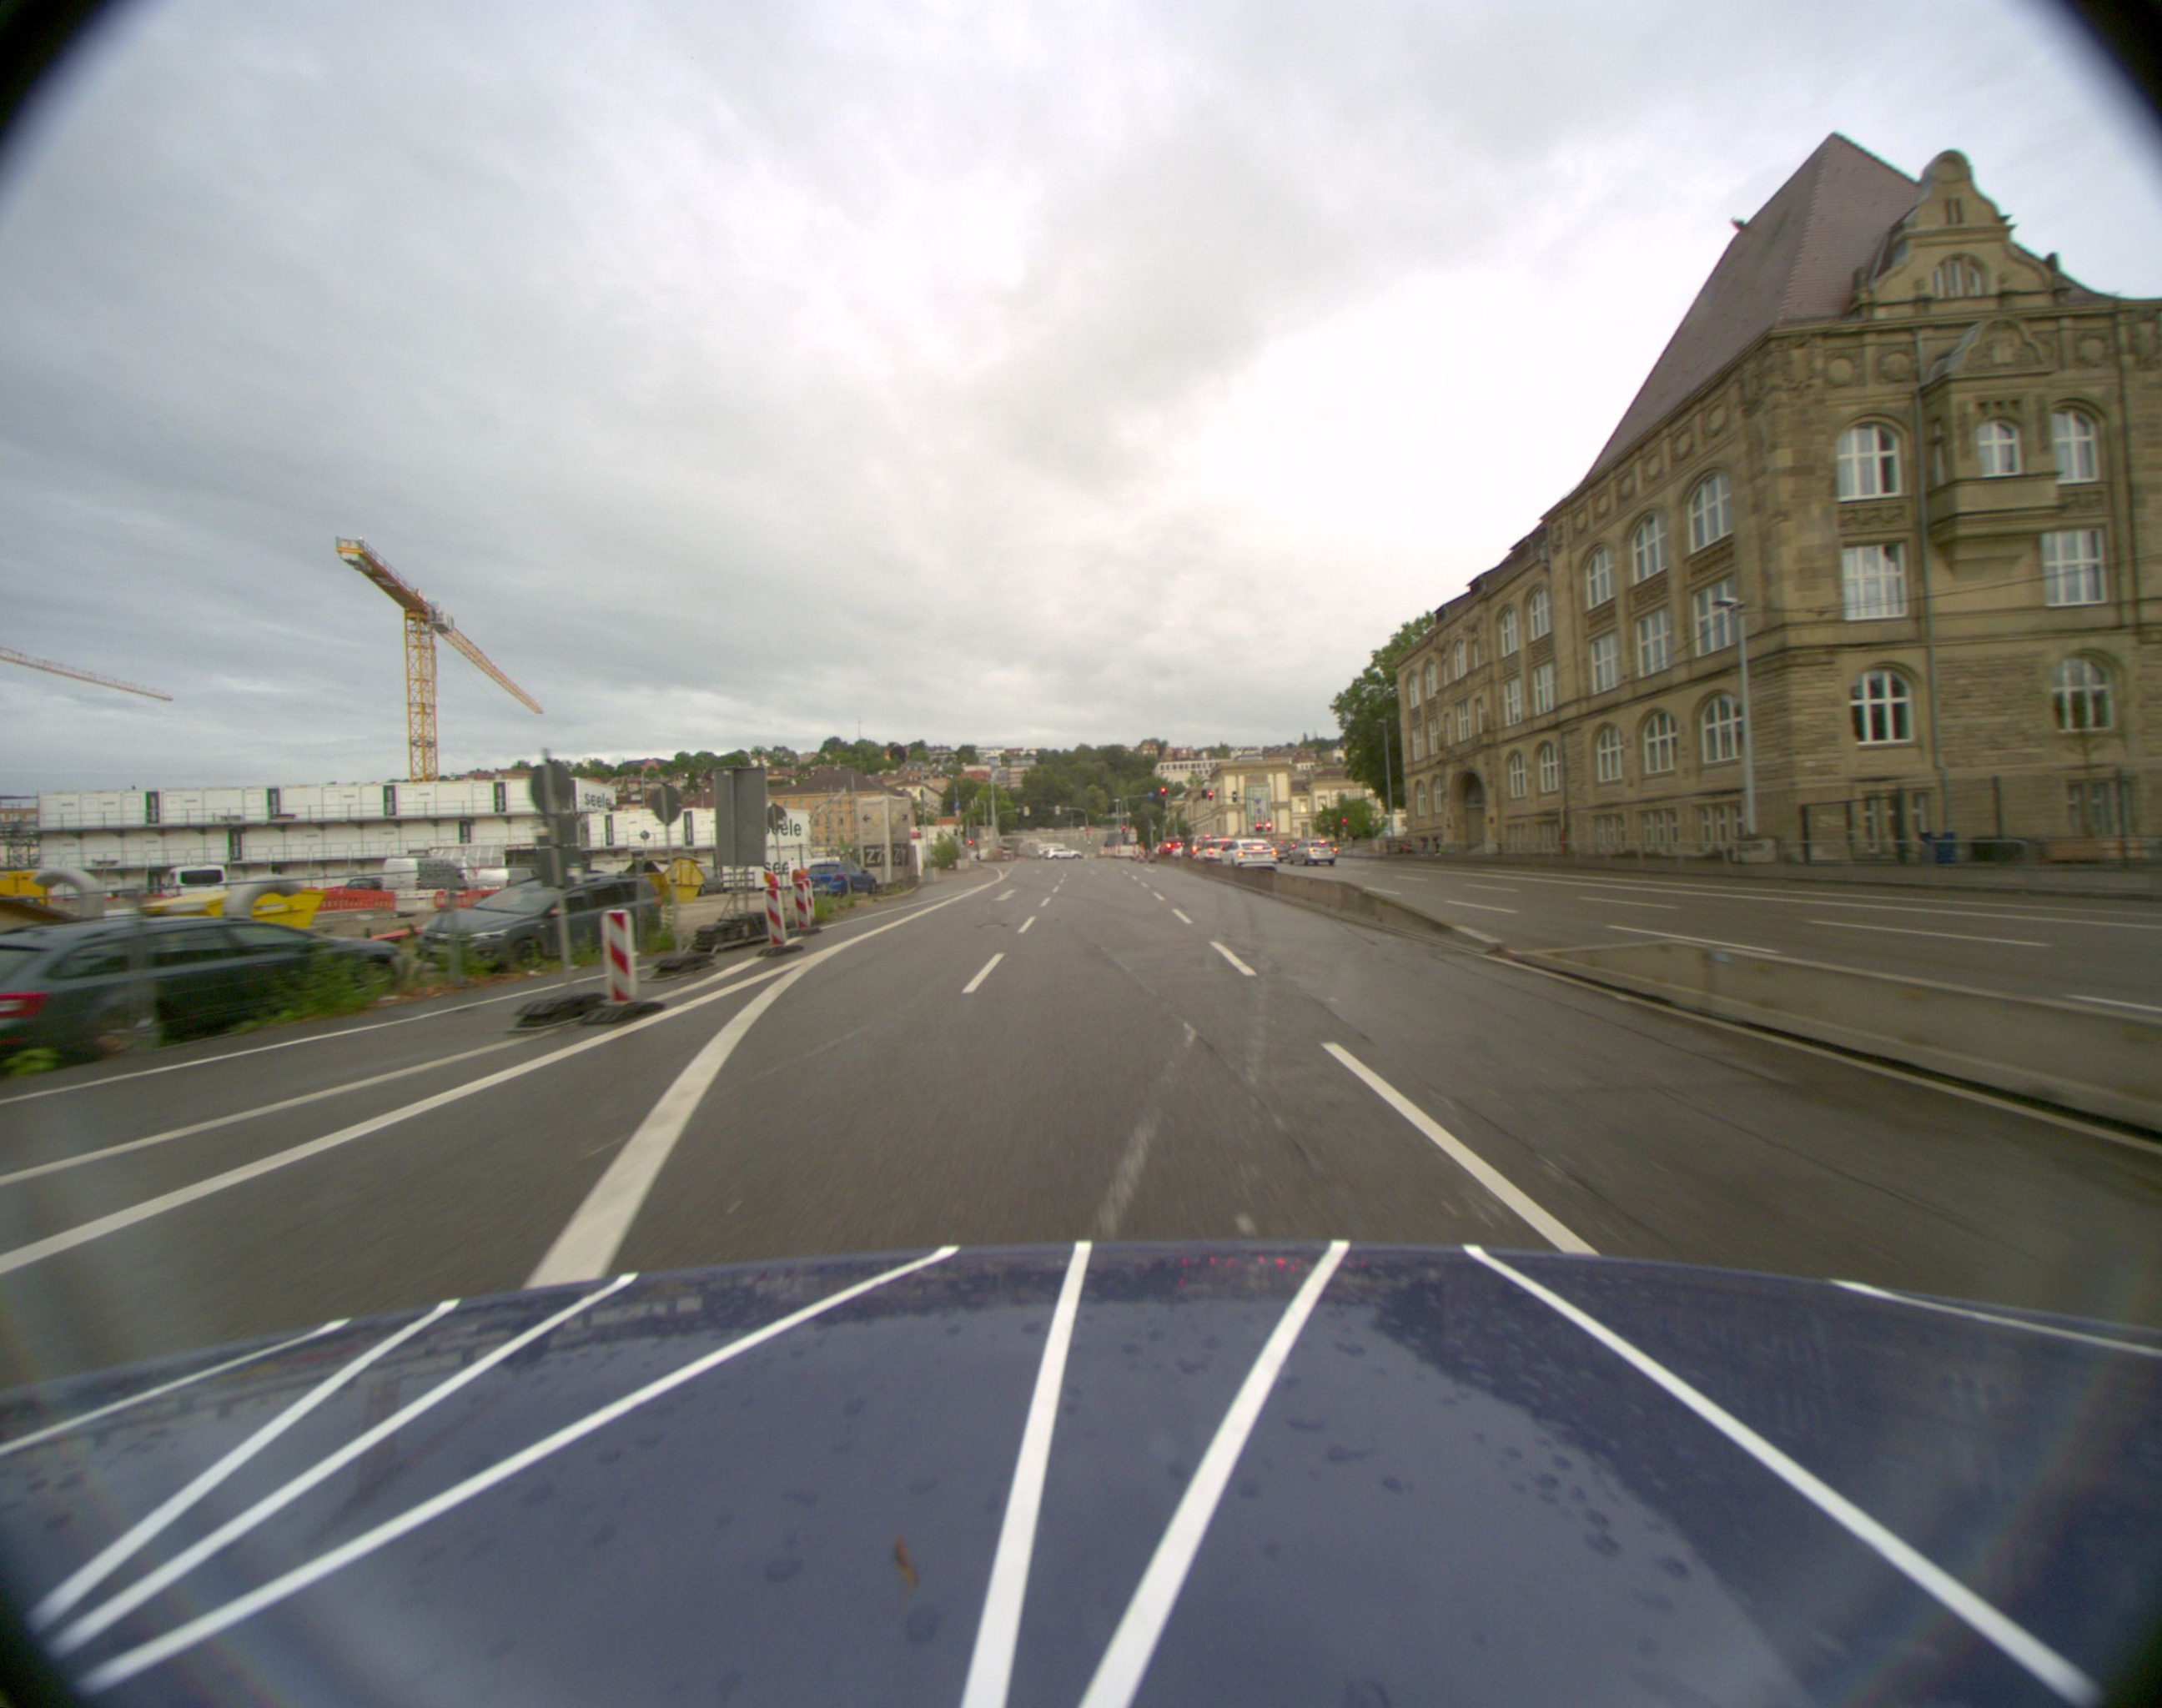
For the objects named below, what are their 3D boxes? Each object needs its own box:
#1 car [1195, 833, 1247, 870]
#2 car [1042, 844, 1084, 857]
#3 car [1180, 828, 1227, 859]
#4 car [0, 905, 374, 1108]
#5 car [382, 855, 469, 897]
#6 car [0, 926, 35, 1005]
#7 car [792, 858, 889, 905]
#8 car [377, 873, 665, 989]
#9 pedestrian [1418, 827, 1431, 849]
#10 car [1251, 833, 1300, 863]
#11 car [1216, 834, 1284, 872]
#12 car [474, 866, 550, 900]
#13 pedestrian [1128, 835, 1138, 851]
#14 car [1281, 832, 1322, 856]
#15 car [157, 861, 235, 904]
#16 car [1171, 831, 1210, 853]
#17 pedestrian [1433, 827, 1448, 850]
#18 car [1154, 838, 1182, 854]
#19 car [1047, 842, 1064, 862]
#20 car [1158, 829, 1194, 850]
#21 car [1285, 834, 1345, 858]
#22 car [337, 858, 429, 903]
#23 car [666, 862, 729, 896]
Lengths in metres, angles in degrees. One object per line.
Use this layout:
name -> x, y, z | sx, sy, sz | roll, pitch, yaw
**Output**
car -> 7.506, -0.172, 41.101 | 1.914, 1.855, 4.377 | -1, 1, -1
car -> -2.105, -0.395, 89.565 | 4.563, 1.463, 1.997 | -1, 1, -15
car -> 7.620, -0.668, 47.736 | 1.999, 1.855, 5.594 | -1, 1, -1
car -> -11.314, 1.621, 9.240 | 1.856, 1.477, 3.995 | -1, 3, -6
car -> -41.105, 1.306, 47.813 | 2.001, 2.428, 4.976 | -1, 1, -13
car -> -19.105, 1.992, 11.278 | 1.716, 1.299, 3.997 | -4, 1, -6
car -> -8.912, 0.972, 28.565 | 1.836, 1.433, 4.413 | -4, 1, 4
car -> -10.531, 1.325, 14.798 | 1.925, 1.640, 4.415 | 3, 1, 9
pedestrian -> 24.027, -1.120, 53.125 | 0.618, 1.575, 0.735 | -1, 1, 2
car -> 13.459, -0.412, 52.778 | 2.000, 2.002, 3.997 | -1, 1, -7
car -> 7.502, -0.078, 34.245 | 1.898, 1.558, 4.897 | -1, 1, -1
car -> -35.916, 1.782, 48.112 | 2.001, 1.876, 4.976 | 0, 1, -13
pedestrian -> 5.431, -1.139, 79.761 | 0.785, 1.700, 0.760 | -1, 2, -22
car -> 18.951, -0.867, 65.521 | 2.000, 2.002, 3.997 | -1, 1, -7
car -> -53.076, 1.653, 45.556 | 4.390, 2.369, 2.155 | 0, 1, 29
car -> 7.872, -0.866, 55.130 | 1.999, 1.493, 4.820 | -1, 1, -1
pedestrian -> 25.019, -1.080, 52.883 | 0.618, 1.575, 0.734 | -1, 1, -6
car -> 8.029, -0.763, 70.468 | 1.998, 1.463, 4.560 | -1, 1, 0
car -> -5.249, -0.440, 157.869 | 2.836, 3.991, 8.724 | -1, 1, 2
car -> 7.567, -1.152, 61.069 | 1.999, 1.558, 5.380 | -1, 1, -2
car -> 13.771, -0.484, 45.008 | 1.999, 1.374, 4.209 | -1, 1, -4
car -> -43.579, 1.571, 47.605 | 2.001, 2.545, 4.976 | 0, 1, -13
car -> -23.853, 1.501, 47.412 | 2.019, 1.890, 4.650 | -1, 0, -7
